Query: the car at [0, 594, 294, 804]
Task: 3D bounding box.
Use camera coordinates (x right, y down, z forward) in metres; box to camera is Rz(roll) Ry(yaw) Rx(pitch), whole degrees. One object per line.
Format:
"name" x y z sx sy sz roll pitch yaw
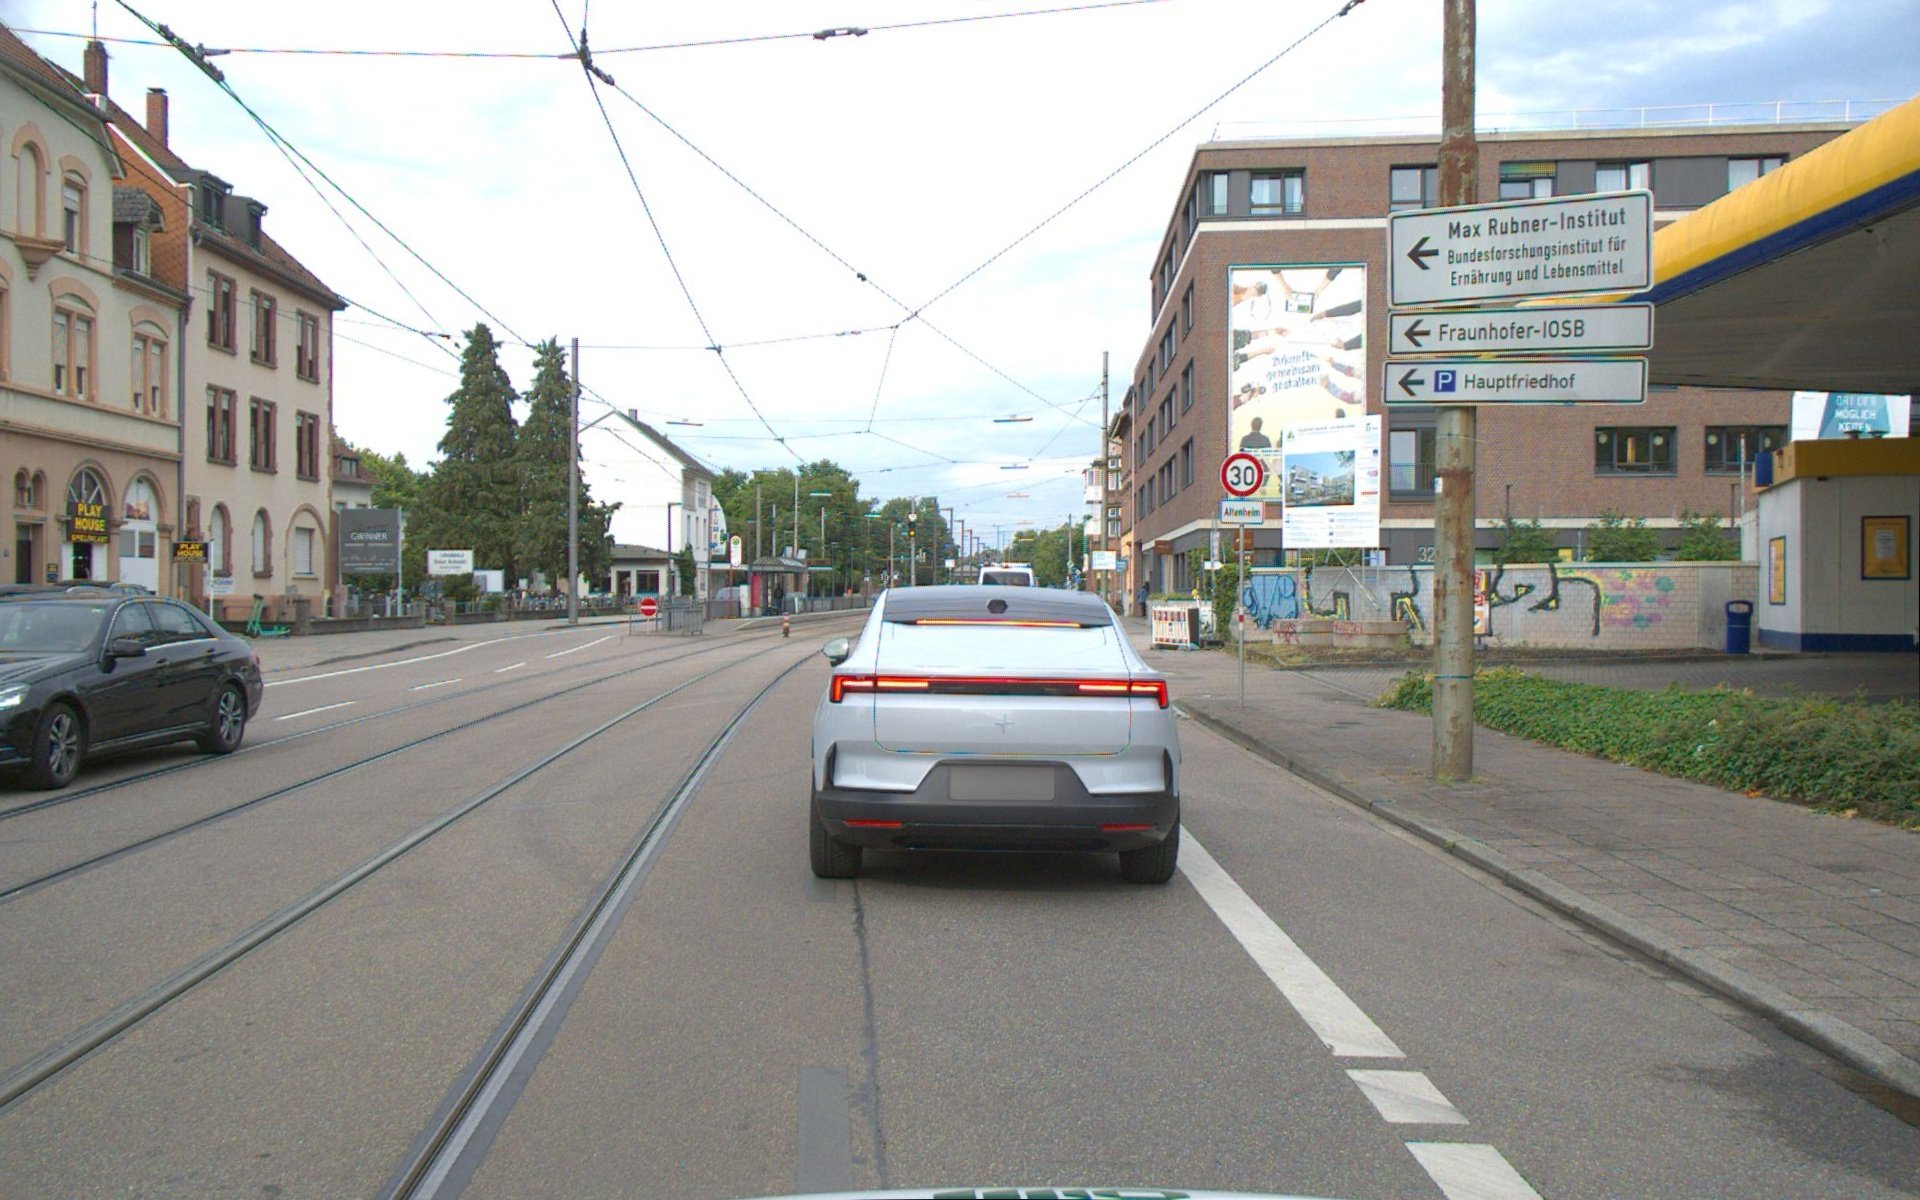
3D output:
"car" -7.563 0.685 13.972 1.907 1.452 4.886 0 0 0

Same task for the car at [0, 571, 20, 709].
"car" -14.200 0.517 20.832 1.952 1.920 4.996 1 0 -2

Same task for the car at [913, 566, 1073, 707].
"car" 0.381 0.491 23.387 1.930 1.787 3.835 1 0 -4

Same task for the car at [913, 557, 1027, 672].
"car" 0.124 0.273 32.078 1.954 2.049 3.998 1 0 -3

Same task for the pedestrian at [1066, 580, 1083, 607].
"pedestrian" 8.725 -0.500 126.124 1.194 2.049 0.933 -1 0 -1

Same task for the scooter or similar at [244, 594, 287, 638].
"scooter or similar" -19.754 0.455 47.039 1.041 1.209 0.314 2 -1 -37

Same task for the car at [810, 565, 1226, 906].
"car" 0.115 0.640 9.886 1.943 1.577 4.179 1 0 -5

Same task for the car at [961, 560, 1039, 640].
"car" 1.263 0.018 54.193 2.172 2.466 4.948 1 0 -3

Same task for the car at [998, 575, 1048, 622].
"car" 3.090 -0.079 82.320 2.096 2.183 4.742 1 0 -2

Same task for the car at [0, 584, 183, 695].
"car" -15.196 0.642 28.468 1.808 1.748 4.190 1 0 -3

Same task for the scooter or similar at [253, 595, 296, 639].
"scooter or similar" -19.329 0.480 46.641 1.041 1.209 0.314 2 -1 -37

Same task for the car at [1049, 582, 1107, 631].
"car" 4.623 0.269 65.318 1.837 1.855 4.094 1 0 -2

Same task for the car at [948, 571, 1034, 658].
"car" 0.742 0.362 41.878 1.953 2.049 3.999 1 0 -2
